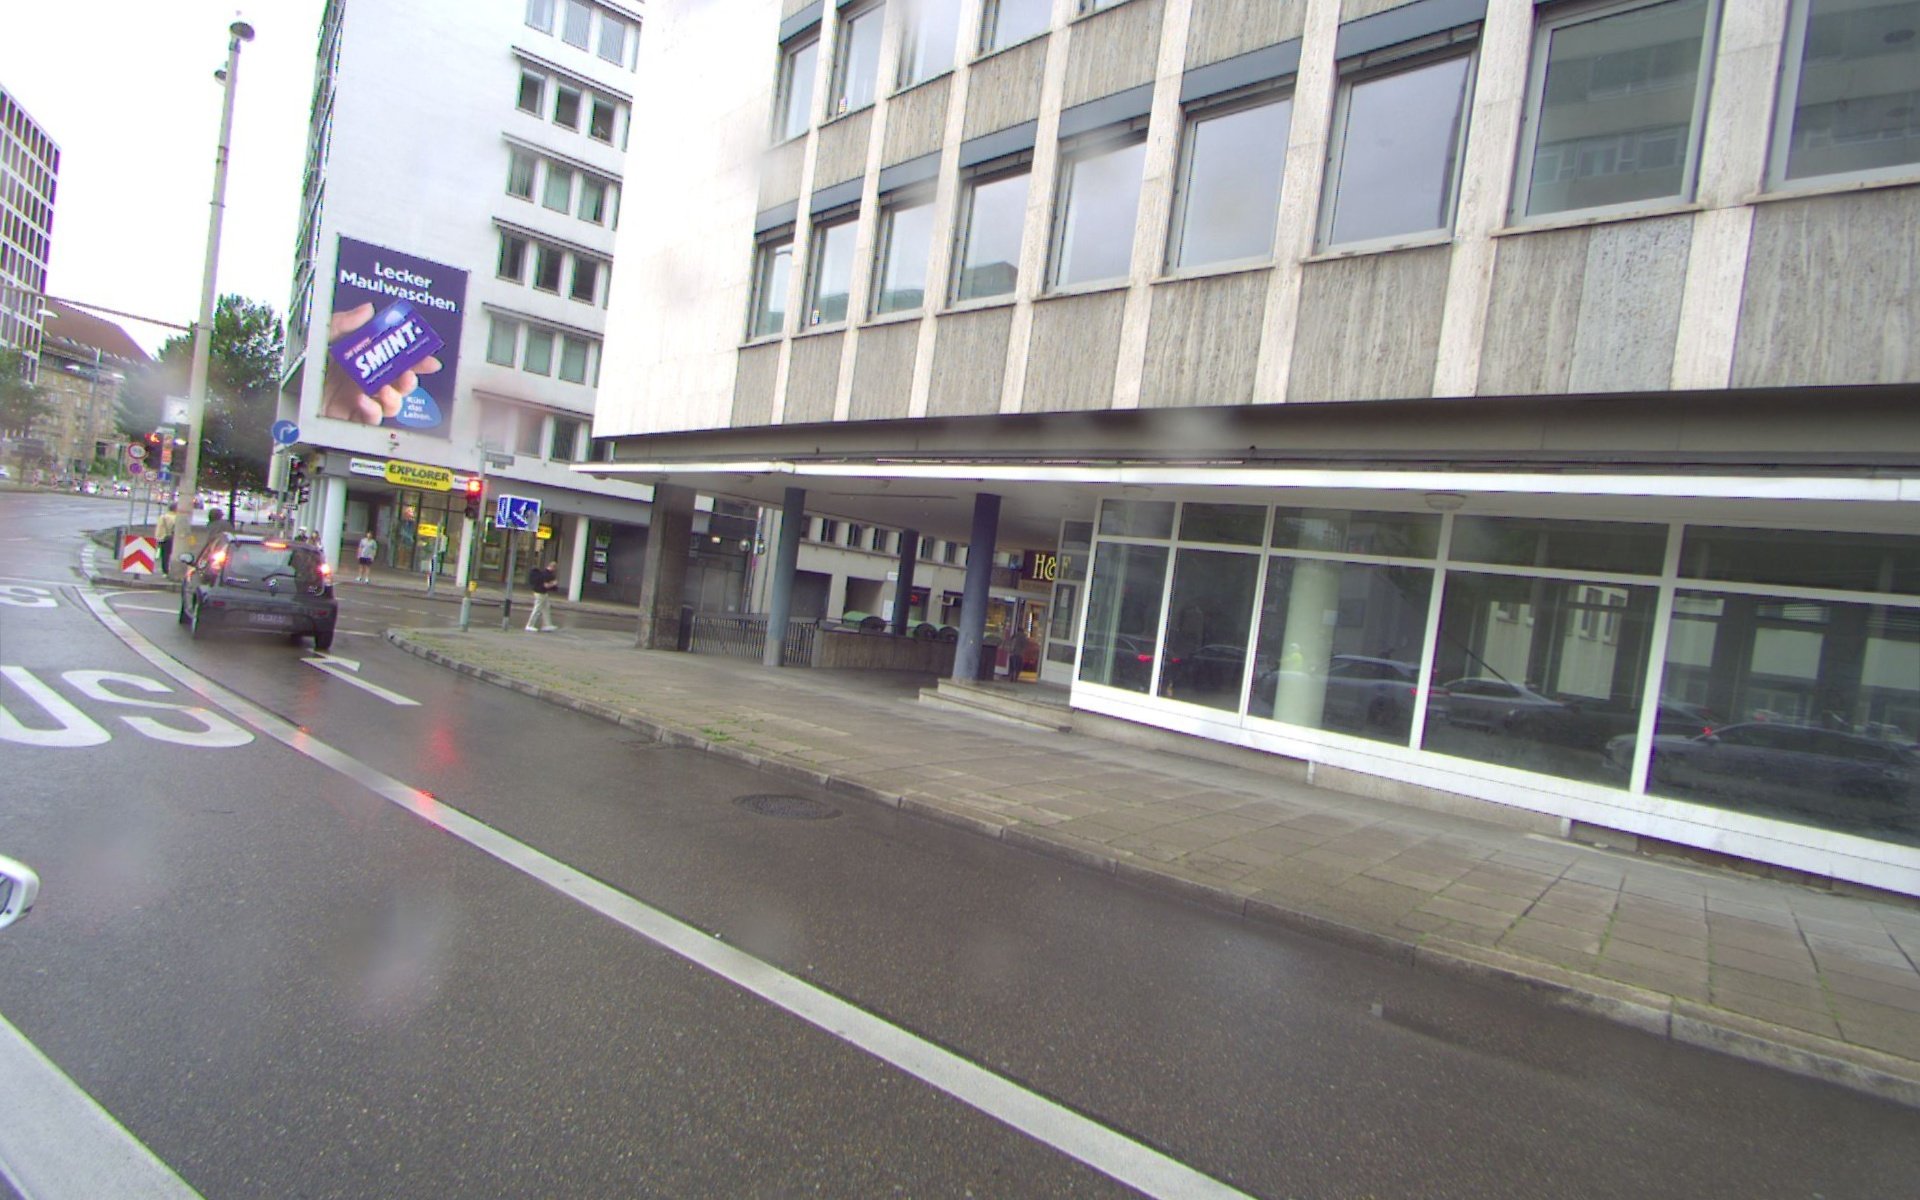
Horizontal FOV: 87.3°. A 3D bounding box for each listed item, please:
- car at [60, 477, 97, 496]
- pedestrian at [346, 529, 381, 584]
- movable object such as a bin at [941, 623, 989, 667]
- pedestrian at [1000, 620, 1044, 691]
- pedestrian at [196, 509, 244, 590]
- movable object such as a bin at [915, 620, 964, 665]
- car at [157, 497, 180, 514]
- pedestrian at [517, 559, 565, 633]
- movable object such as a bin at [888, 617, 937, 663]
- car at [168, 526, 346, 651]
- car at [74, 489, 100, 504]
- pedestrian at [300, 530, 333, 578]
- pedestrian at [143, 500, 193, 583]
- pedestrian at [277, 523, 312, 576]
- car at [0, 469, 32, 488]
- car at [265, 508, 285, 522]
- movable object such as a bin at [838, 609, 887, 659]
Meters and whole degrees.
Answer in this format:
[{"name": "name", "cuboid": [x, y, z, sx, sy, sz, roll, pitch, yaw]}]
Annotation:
[{"name": "car", "cuboid": [-134.455, -17.275, 153.456, 3.969, 2.037, 1.979, 9, -1, -38]}, {"name": "pedestrian", "cuboid": [-20.945, -1.527, 35.316, 0.660, 1.815, 0.771, 7, 0, -15]}, {"name": "movable object such as a bin", "cuboid": [0.165, 1.640, 36.630, 1.094, 1.399, 1.186, 7, 1, -37]}, {"name": "pedestrian", "cuboid": [1.688, 1.507, 27.388, 0.698, 1.825, 0.800, 8, 0, 28]}, {"name": "pedestrian", "cuboid": [-17.589, -1.203, 23.912, 0.745, 1.820, 0.808, 7, 1, -38]}, {"name": "movable object such as a bin", "cuboid": [-0.739, 1.514, 35.943, 1.094, 1.399, 1.186, 7, 1, -37]}, {"name": "car", "cuboid": [-97.201, -11.627, 123.607, 1.878, 1.662, 3.962, 8, -1, -35]}, {"name": "pedestrian", "cuboid": [-10.510, -0.093, 25.252, 0.768, 1.752, 0.589, 7, 0, -44]}, {"name": "movable object such as a bin", "cuboid": [-1.669, 1.408, 35.209, 1.094, 1.399, 1.186, 7, 1, -37]}, {"name": "car", "cuboid": [-10.449, -0.229, 14.834, 1.566, 1.446, 3.953, 9, -2, -42]}, {"name": "car", "cuboid": [-100.538, -11.916, 115.891, 1.622, 1.454, 3.871, 8, 0, -34]}, {"name": "pedestrian", "cuboid": [-22.137, -1.581, 34.640, 0.616, 1.561, 0.651, 8, 0, -15]}, {"name": "pedestrian", "cuboid": [-18.522, -1.364, 23.553, 0.745, 1.820, 0.808, 7, 1, -38]}, {"name": "pedestrian", "cuboid": [-22.809, -1.720, 34.491, 0.660, 1.675, 0.651, 8, 0, -15]}, {"name": "car", "cuboid": [-137.803, -17.742, 146.202, 3.969, 2.037, 1.979, 9, -1, -38]}, {"name": "car", "cuboid": [-91.611, -11.351, 134.565, 1.680, 1.503, 3.973, 8, -2, -28]}, {"name": "movable object such as a bin", "cuboid": [-3.258, 1.135, 33.514, 0.961, 1.447, 1.268, 7, 1, -36]}]
